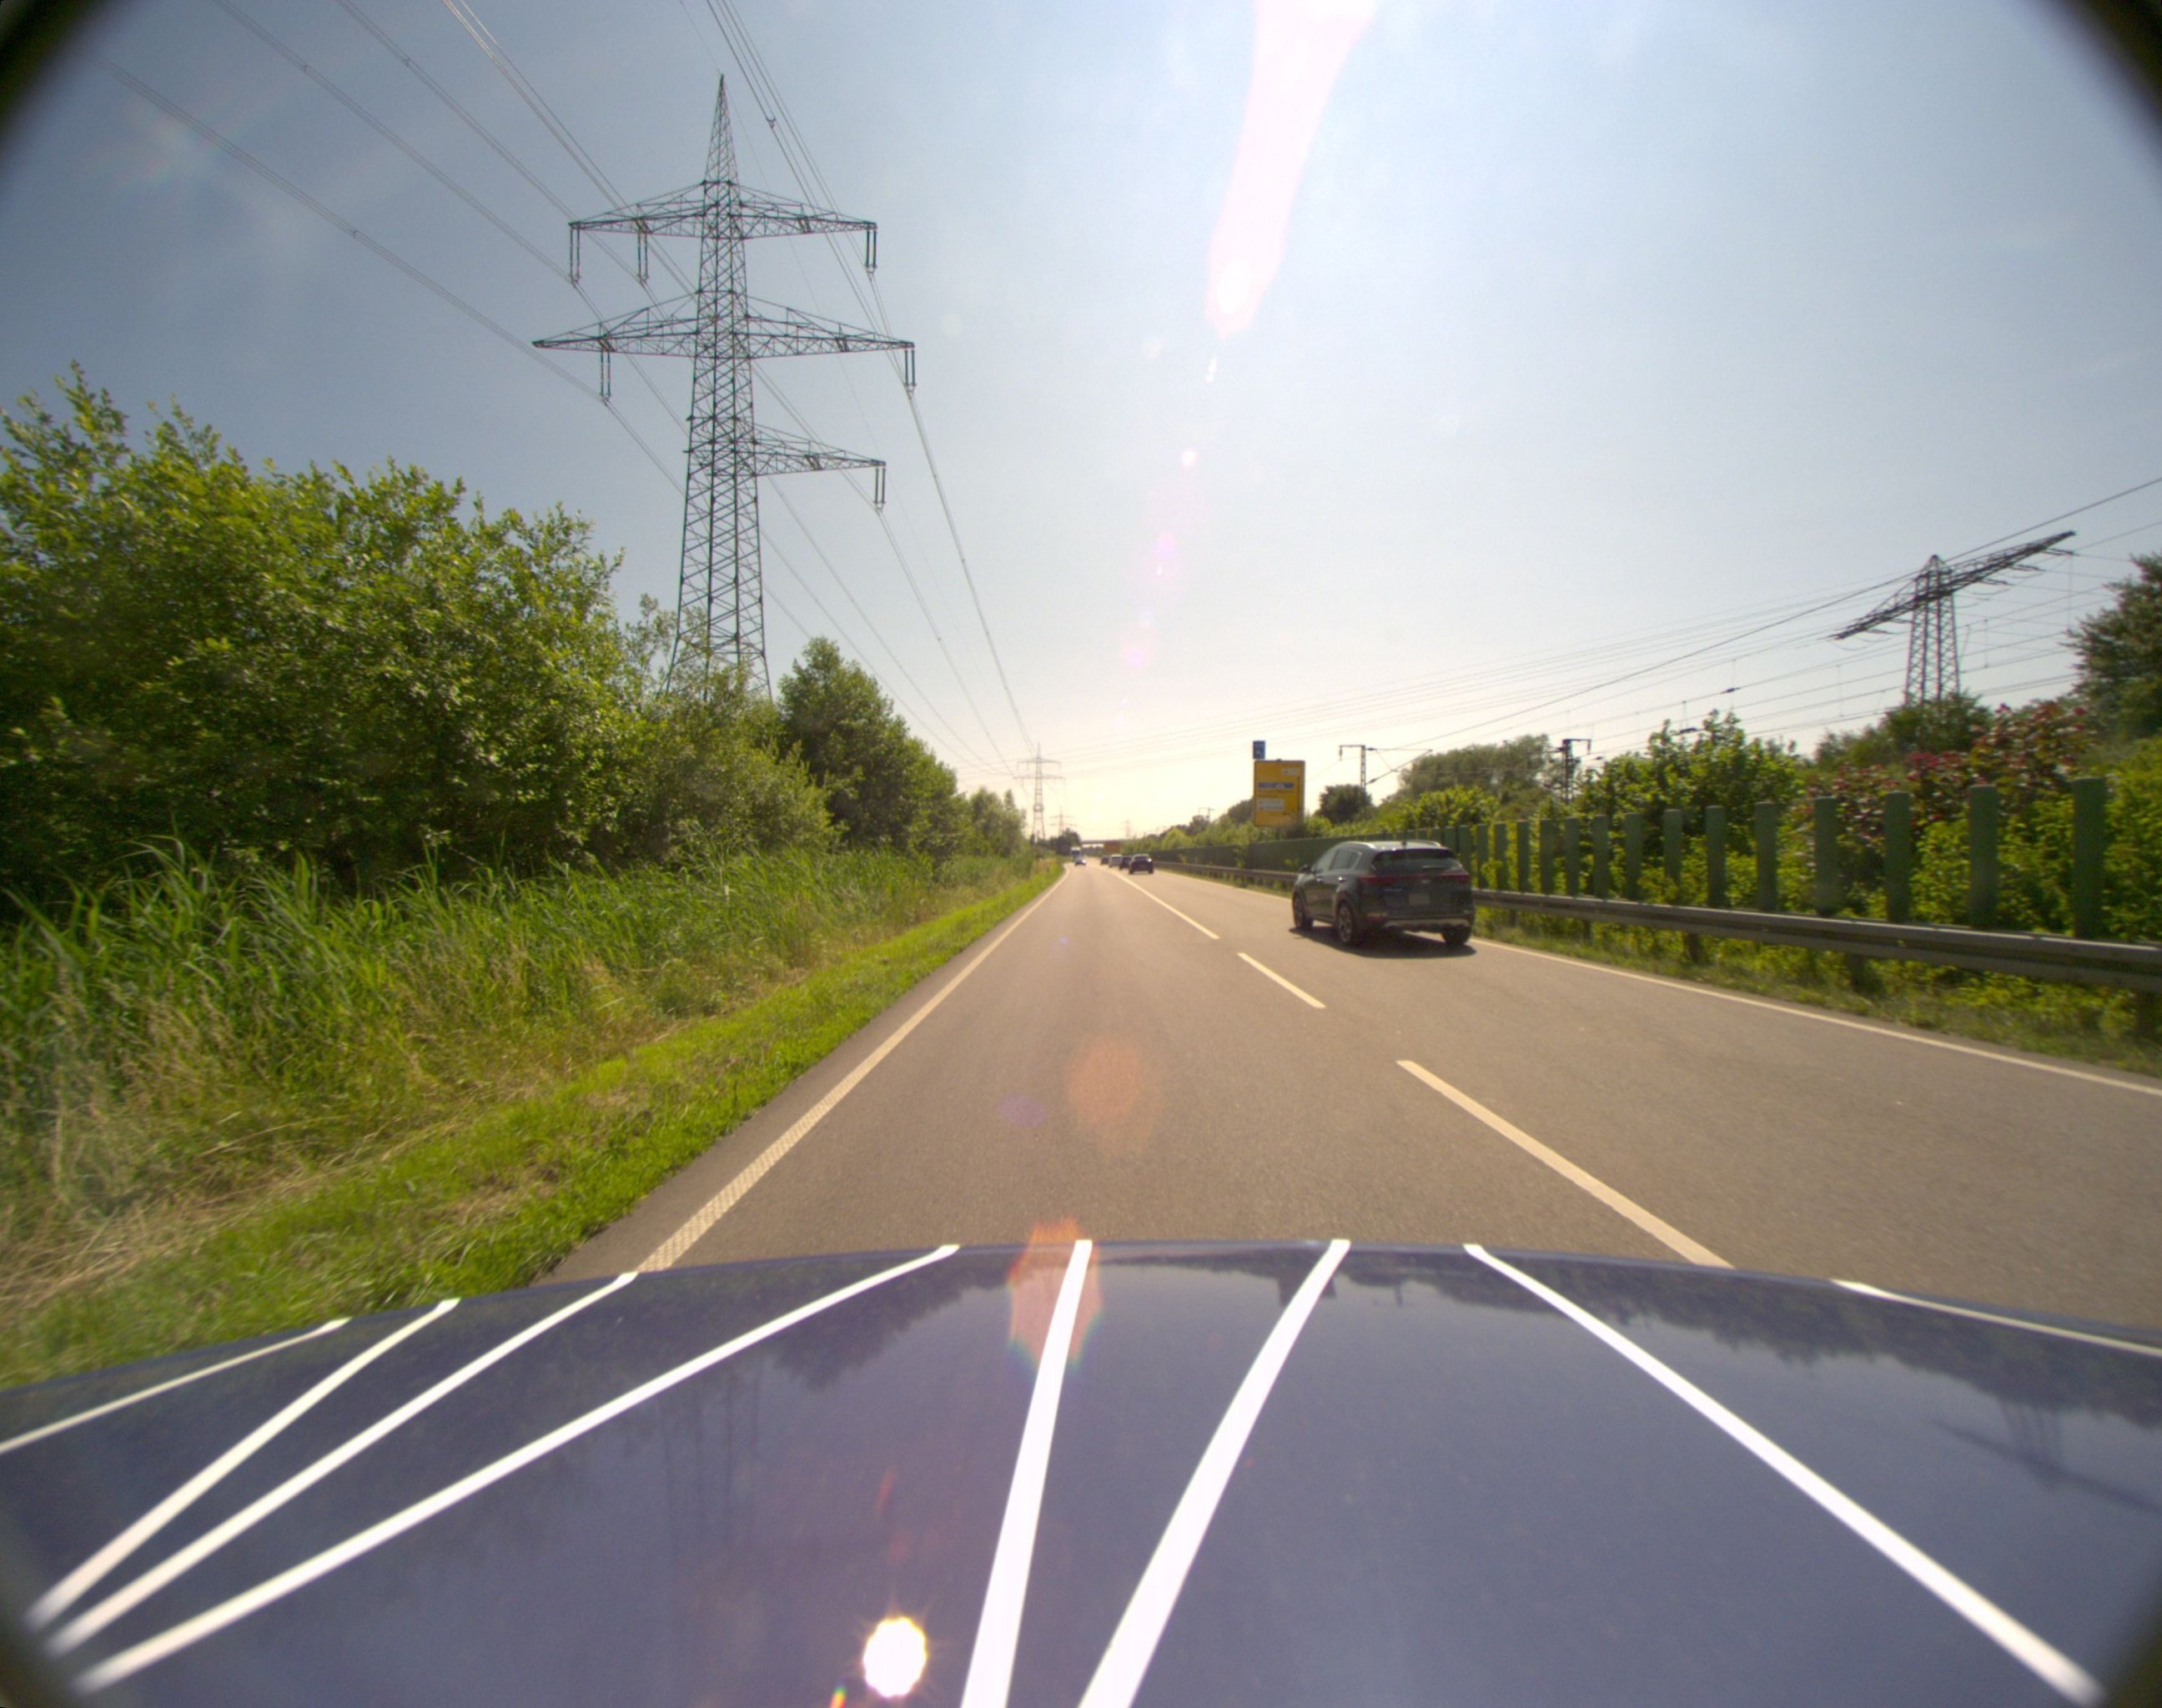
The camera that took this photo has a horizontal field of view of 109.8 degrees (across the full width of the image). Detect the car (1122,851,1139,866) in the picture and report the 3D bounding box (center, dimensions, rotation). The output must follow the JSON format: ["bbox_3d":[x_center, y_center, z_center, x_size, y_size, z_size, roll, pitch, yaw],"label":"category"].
[{"bbox_3d":[5.048,0.457,78.263,1.510,1.426,3.742,-2,0,0],"label":"car"}]

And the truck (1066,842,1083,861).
[{"bbox_3d":[-1.682,-0.580,203.691,4.219,4.608,21.302,-2,0,0],"label":"truck"}]

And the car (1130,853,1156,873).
[{"bbox_3d":[4.882,0.679,60.190,1.677,1.506,4.289,-1,0,0],"label":"car"}]

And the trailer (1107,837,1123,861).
[{"bbox_3d":[6.122,-0.893,139.272,2.555,4.120,9.228,-2,0,1],"label":"trailer"}]

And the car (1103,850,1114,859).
[{"bbox_3d":[4.249,0.069,118.803,1.618,1.433,3.794,-1,0,0],"label":"car"}]

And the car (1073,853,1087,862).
[{"bbox_3d":[-0.137,0.563,118.253,1.998,1.346,4.157,-2,1,0],"label":"car"}]

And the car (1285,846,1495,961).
[{"bbox_3d":[4.939,0.696,12.887,1.806,1.578,4.371,-1,0,1],"label":"car"}]

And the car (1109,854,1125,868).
[{"bbox_3d":[4.492,0.835,94.948,1.829,1.596,4.323,-2,0,1],"label":"car"}]
